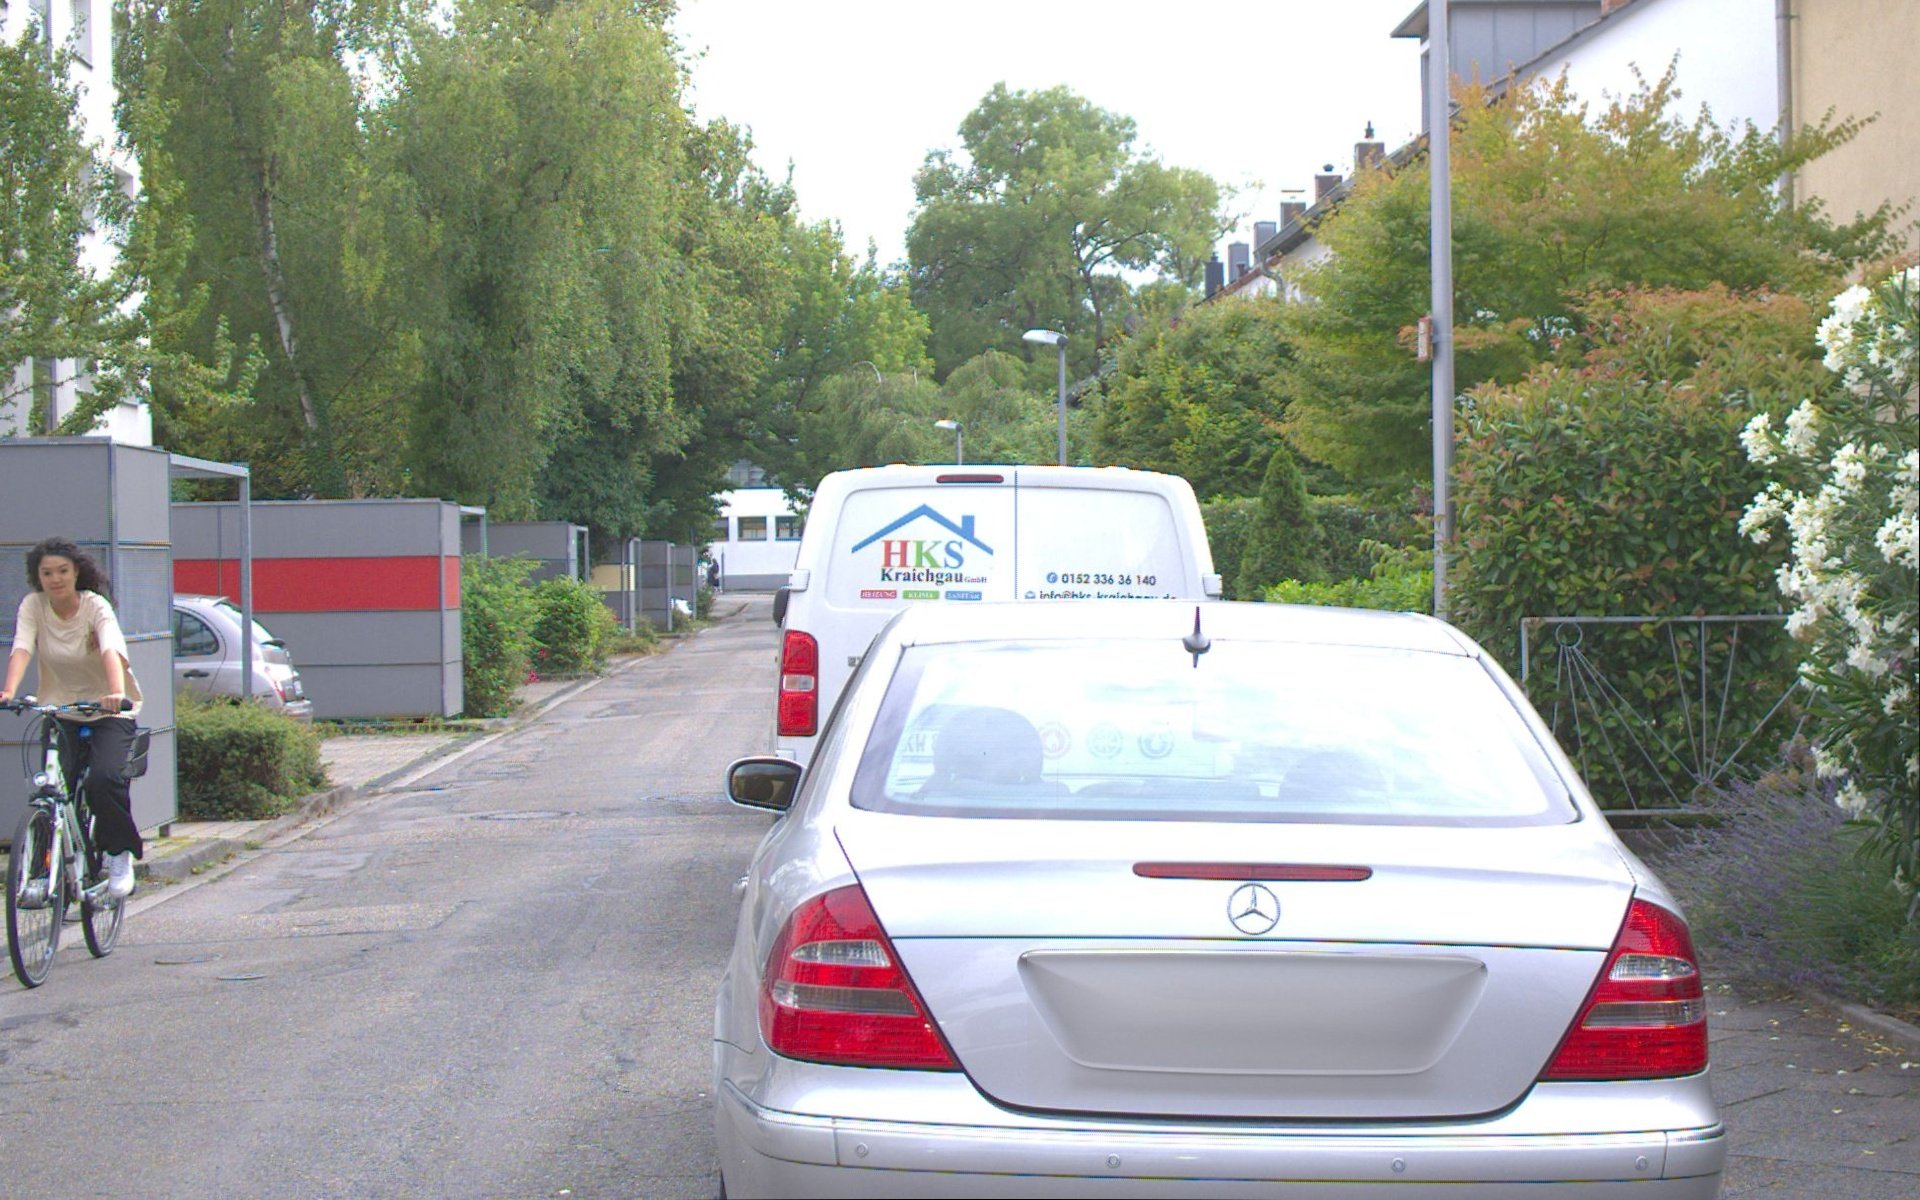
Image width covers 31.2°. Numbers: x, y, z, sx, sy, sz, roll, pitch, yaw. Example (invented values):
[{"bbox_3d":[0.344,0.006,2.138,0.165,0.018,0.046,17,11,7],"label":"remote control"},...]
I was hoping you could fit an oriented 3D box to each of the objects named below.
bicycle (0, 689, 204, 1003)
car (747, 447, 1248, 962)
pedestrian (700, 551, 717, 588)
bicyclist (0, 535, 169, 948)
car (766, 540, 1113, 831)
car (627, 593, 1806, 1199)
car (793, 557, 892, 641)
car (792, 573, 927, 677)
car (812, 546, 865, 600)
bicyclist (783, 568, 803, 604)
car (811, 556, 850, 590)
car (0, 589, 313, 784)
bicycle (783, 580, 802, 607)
[{"bbox_3d":[-3.538,0.937,13.671,0.597,1.072,2.042,-2,1,-1],"label":"bicycle"},{"bbox_3d":[0.020,0.375,15.762,1.903,1.958,5.254,0,1,-3],"label":"car"},{"bbox_3d":[-12.393,-1.521,169.356,0.777,1.799,0.548,1,0,-3],"label":"pedestrian"},{"bbox_3d":[-3.553,0.543,13.639,0.597,1.575,0.767,-2,0,-1],"label":"bicyclist"},{"bbox_3d":[-0.229,0.465,21.475,1.824,1.630,4.163,0,1,-5],"label":"car"},{"bbox_3d":[0.365,0.717,7.444,1.783,1.416,4.455,0,1,-1],"label":"car"},{"bbox_3d":[-2.350,-0.050,67.864,1.825,1.576,4.001,1,1,-4],"label":"car"},{"bbox_3d":[-1.438,0.328,49.152,1.825,1.365,4.331,1,1,-2],"label":"car"},{"bbox_3d":[-4.379,-0.991,124.263,1.825,1.877,4.000,1,1,-2],"label":"car"},{"bbox_3d":[-7.198,-0.597,147.887,0.798,1.506,0.934,1,0,0],"label":"bicyclist"},{"bbox_3d":[-6.211,-1.306,165.357,1.825,1.576,4.000,1,1,-2],"label":"car"},{"bbox_3d":[-7.314,0.719,28.754,3.561,1.475,1.711,-2,1,-6],"label":"car"},{"bbox_3d":[-7.205,-0.282,147.815,0.689,1.127,2.579,1,0,0],"label":"bicycle"}]
